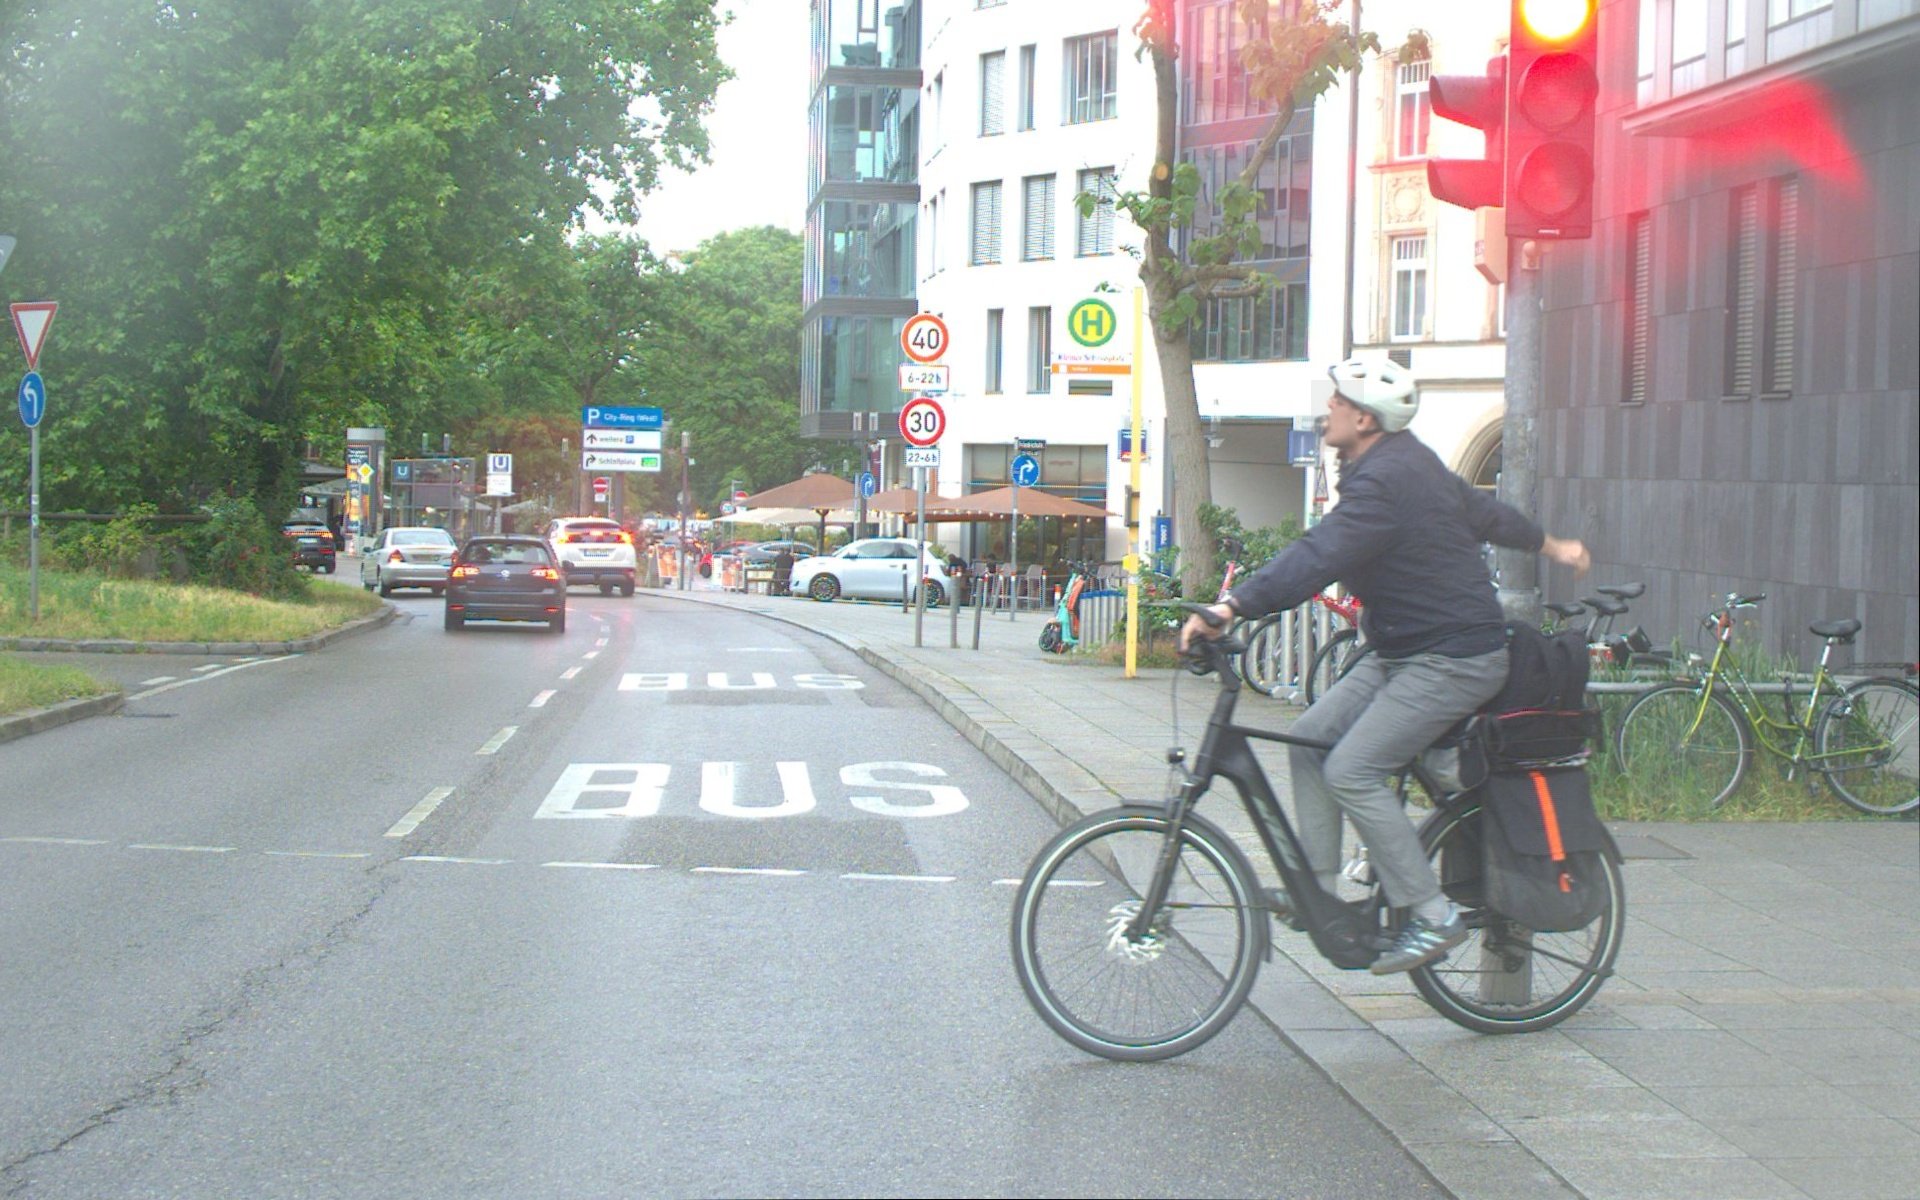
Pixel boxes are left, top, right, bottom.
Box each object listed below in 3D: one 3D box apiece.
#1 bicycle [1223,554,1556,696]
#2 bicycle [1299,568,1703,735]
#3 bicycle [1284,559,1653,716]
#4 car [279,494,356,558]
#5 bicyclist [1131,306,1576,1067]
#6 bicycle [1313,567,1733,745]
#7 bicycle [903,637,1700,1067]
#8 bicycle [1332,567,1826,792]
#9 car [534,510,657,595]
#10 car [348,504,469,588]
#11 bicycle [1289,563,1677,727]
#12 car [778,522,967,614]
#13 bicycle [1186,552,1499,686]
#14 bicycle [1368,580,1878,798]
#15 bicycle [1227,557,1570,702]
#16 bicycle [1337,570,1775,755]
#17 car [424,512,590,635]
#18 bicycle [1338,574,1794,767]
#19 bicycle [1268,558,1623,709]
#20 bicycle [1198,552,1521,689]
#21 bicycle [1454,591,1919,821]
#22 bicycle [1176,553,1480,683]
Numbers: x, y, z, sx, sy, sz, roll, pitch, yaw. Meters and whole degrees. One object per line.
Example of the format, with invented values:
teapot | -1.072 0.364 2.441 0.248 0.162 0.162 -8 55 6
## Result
bicycle | 3.413 0.193 27.415 2.535 1.083 0.677 1 1 -5
bicycle | 3.564 0.338 22.741 2.535 1.056 0.677 1 1 -5
bicycle | 3.660 0.267 24.846 2.535 1.083 0.677 1 1 -5
car | -17.392 -2.022 93.013 1.944 1.641 4.001 1 1 -11
bicyclist | 1.101 0.236 9.813 1.081 2.076 0.763 1 1 -7
bicycle | 3.569 0.353 21.874 2.535 1.083 0.677 1 1 -5
bicycle | 0.944 0.696 9.796 2.125 1.141 0.763 1 1 -7
bicycle | 3.402 0.430 18.984 2.535 1.083 0.677 3 1 -5
car | -7.850 -1.040 73.710 2.178 1.695 4.001 1 1 -12
car | -11.560 -1.142 71.829 1.944 1.641 4.246 1 1 -16
bicycle | 3.582 0.305 23.649 2.535 1.083 0.677 1 1 -5
car | -1.976 -0.721 76.696 3.986 1.641 2.000 5 1 -4
bicycle | 3.221 0.158 29.051 2.535 1.083 0.677 1 1 -5
bicycle | 3.488 0.466 18.181 2.535 1.083 0.677 1 1 -5
bicycle | 3.387 0.223 26.663 2.535 1.083 0.677 1 1 -5
bicycle | 3.635 0.375 21.064 2.535 1.083 0.677 1 1 -5
car | -6.751 -0.441 51.644 2.162 1.700 4.555 2 1 -4
bicycle | 3.546 0.410 20.209 2.535 1.083 0.677 1 1 -5
bicycle | 3.637 0.246 25.824 2.535 1.083 0.677 1 1 -5
bicycle | 3.278 0.162 28.303 2.535 1.083 0.677 1 1 -5
bicycle | 3.734 0.509 16.704 2.535 1.053 0.677 1 1 -5
bicycle | 3.177 0.152 29.773 2.535 1.083 0.627 1 1 -5
